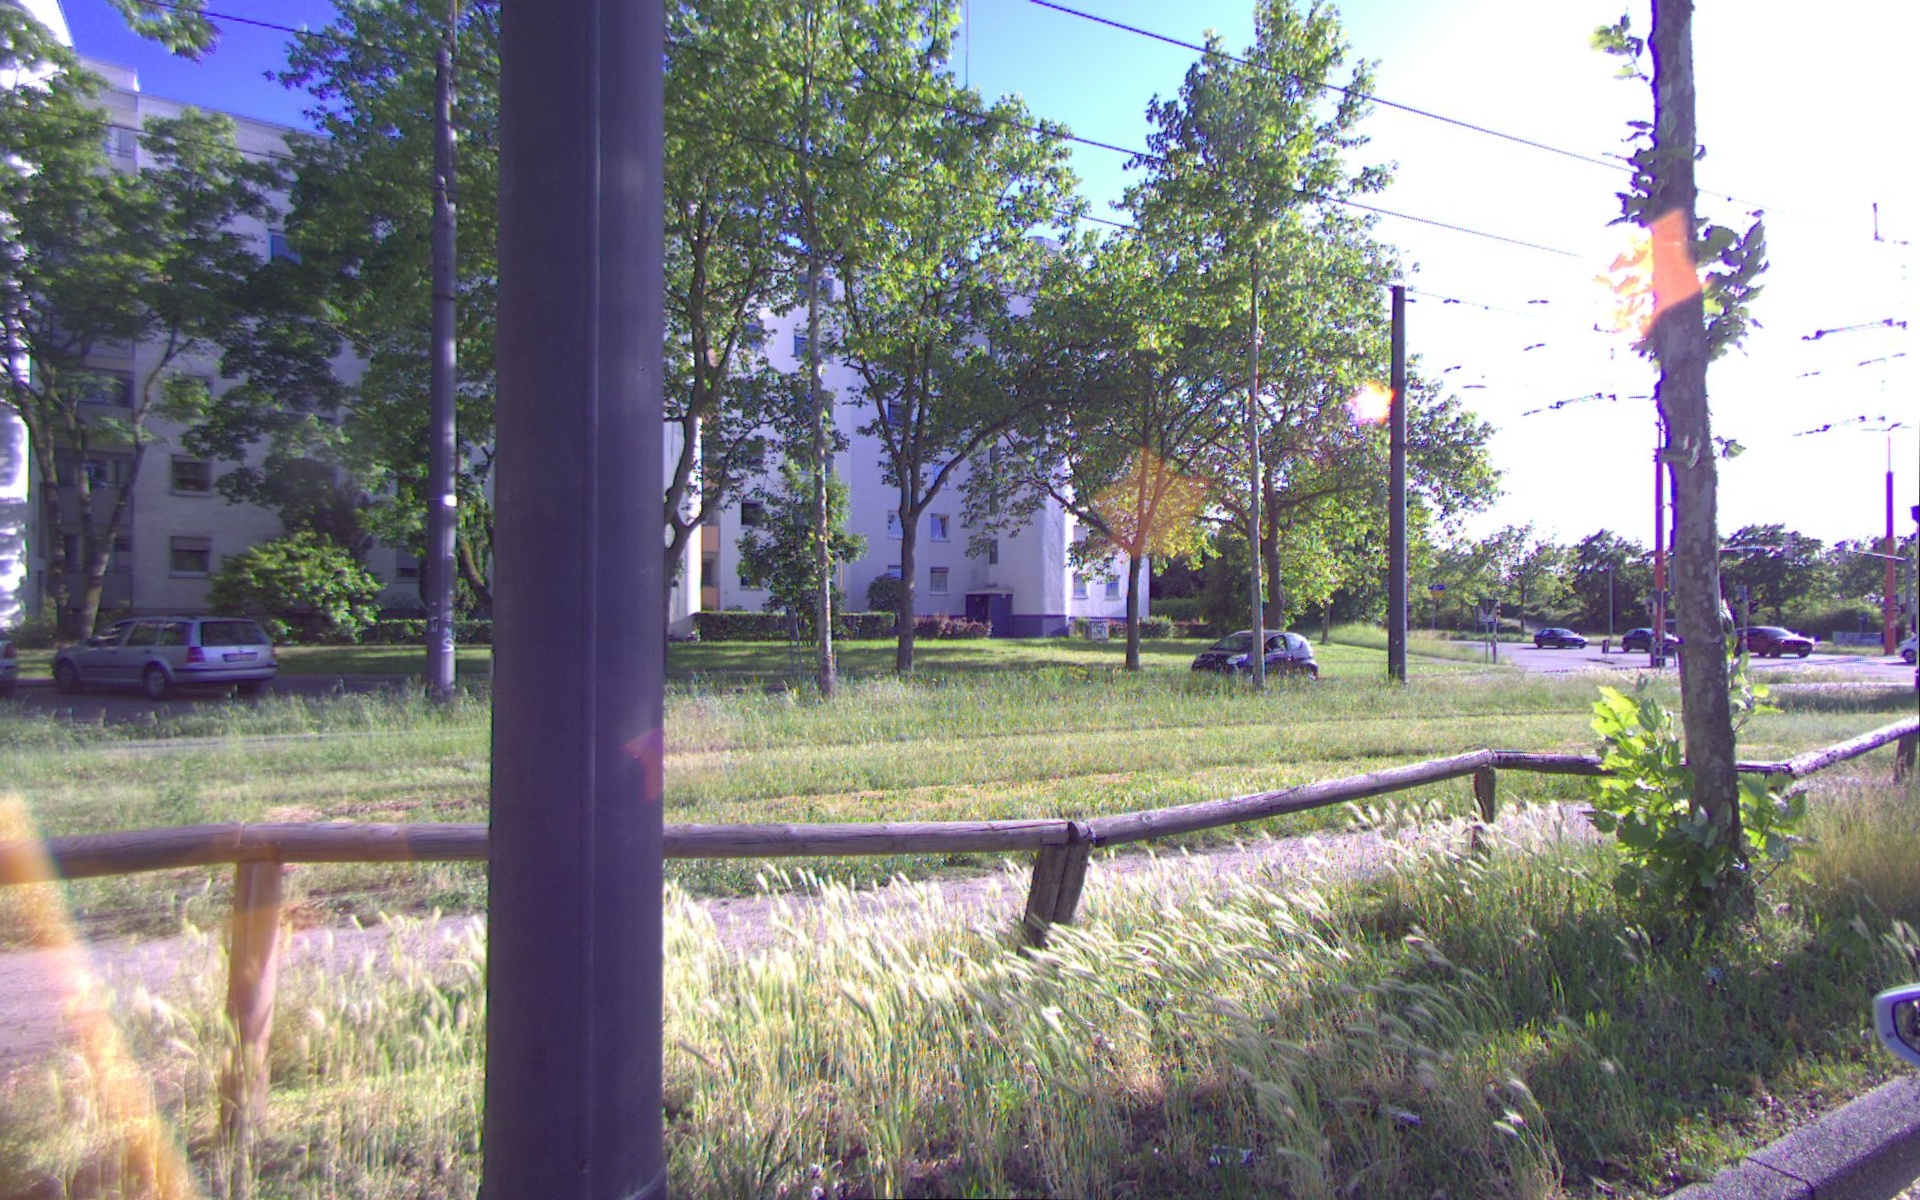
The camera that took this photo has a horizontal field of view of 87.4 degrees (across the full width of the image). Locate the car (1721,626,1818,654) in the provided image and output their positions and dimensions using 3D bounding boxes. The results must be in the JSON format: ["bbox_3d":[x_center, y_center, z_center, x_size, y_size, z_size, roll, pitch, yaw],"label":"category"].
[{"bbox_3d":[45.800,2.247,56.945,1.877,1.483,4.373,1,-1,-2],"label":"car"}]

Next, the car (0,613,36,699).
[{"bbox_3d":[-17.927,0.924,17.138,3.609,1.452,1.703,0,-1,20],"label":"car"}]

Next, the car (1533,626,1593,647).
[{"bbox_3d":[45.289,2.702,75.543,1.877,1.483,4.239,1,-1,-3],"label":"car"}]

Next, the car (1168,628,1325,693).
[{"bbox_3d":[7.078,1.443,24.731,3.721,1.439,1.809,2,-1,-36],"label":"car"}]

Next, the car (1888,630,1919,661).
[{"bbox_3d":[46.521,2.166,47.041,1.880,1.483,4.215,1,-1,-11],"label":"car"}]

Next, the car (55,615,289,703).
[{"bbox_3d":[-14.483,1.023,18.482,3.609,1.452,1.732,0,-1,20],"label":"car"}]
